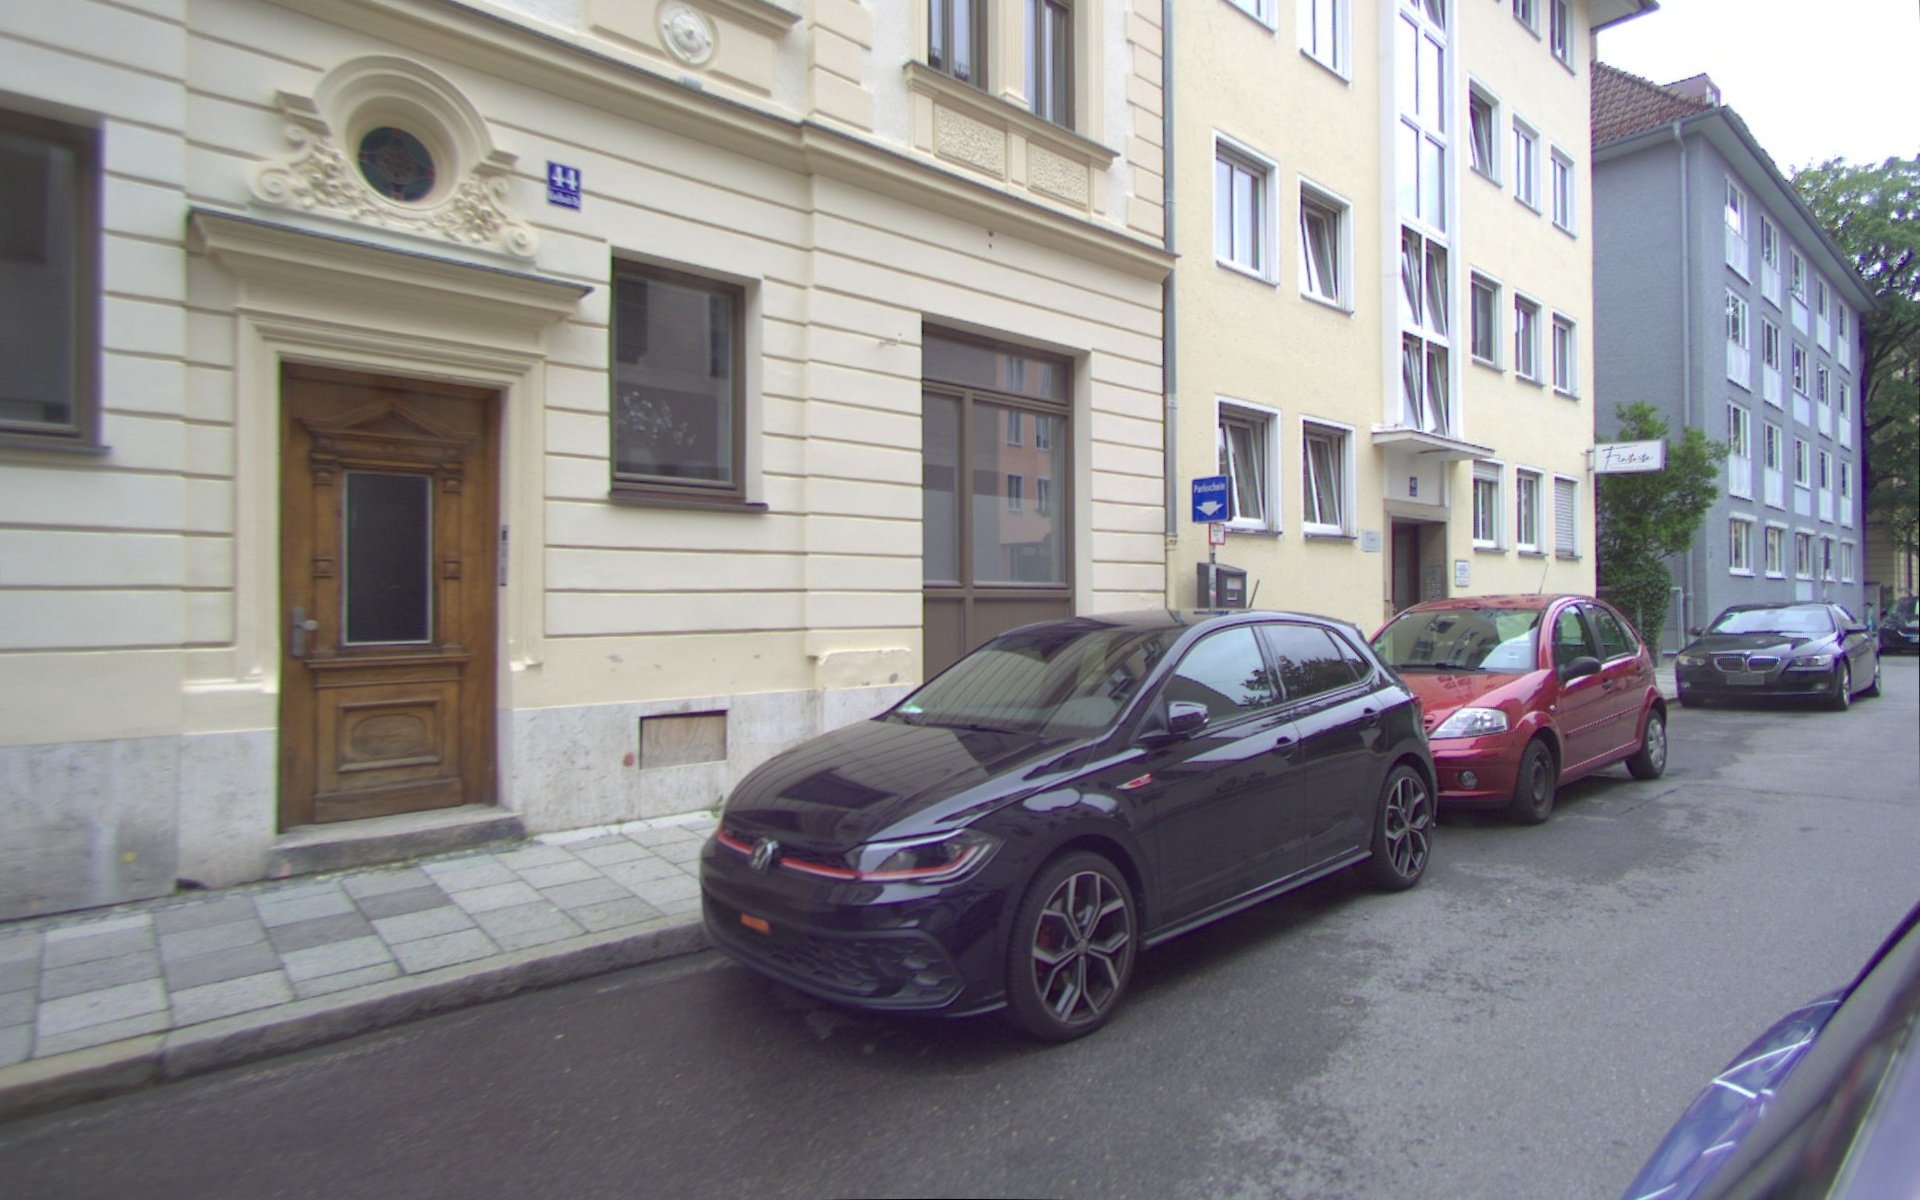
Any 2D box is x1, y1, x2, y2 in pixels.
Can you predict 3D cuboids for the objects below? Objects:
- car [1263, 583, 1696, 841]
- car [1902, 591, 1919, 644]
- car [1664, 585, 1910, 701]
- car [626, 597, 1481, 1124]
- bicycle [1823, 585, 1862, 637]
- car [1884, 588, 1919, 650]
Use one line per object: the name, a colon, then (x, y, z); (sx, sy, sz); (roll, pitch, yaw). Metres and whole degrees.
car: (4.149, 0.652, 7.837); (3.786, 1.511, 1.679); (-1, -1, -41)
car: (27.983, 0.399, 28.286); (4.405, 1.419, 1.792); (-1, -4, -40)
car: (11.502, 0.550, 13.972); (4.430, 1.352, 1.827); (-1, -4, -41)
car: (0.714, 0.719, 4.728); (3.994, 1.410, 1.679); (-1, -1, -41)
bicycle: (26.518, 0.303, 30.391); (2.239, 1.505, 0.515); (0, -1, -40)
car: (24.470, 0.397, 25.092); (4.191, 1.447, 1.842); (0, -4, -43)
